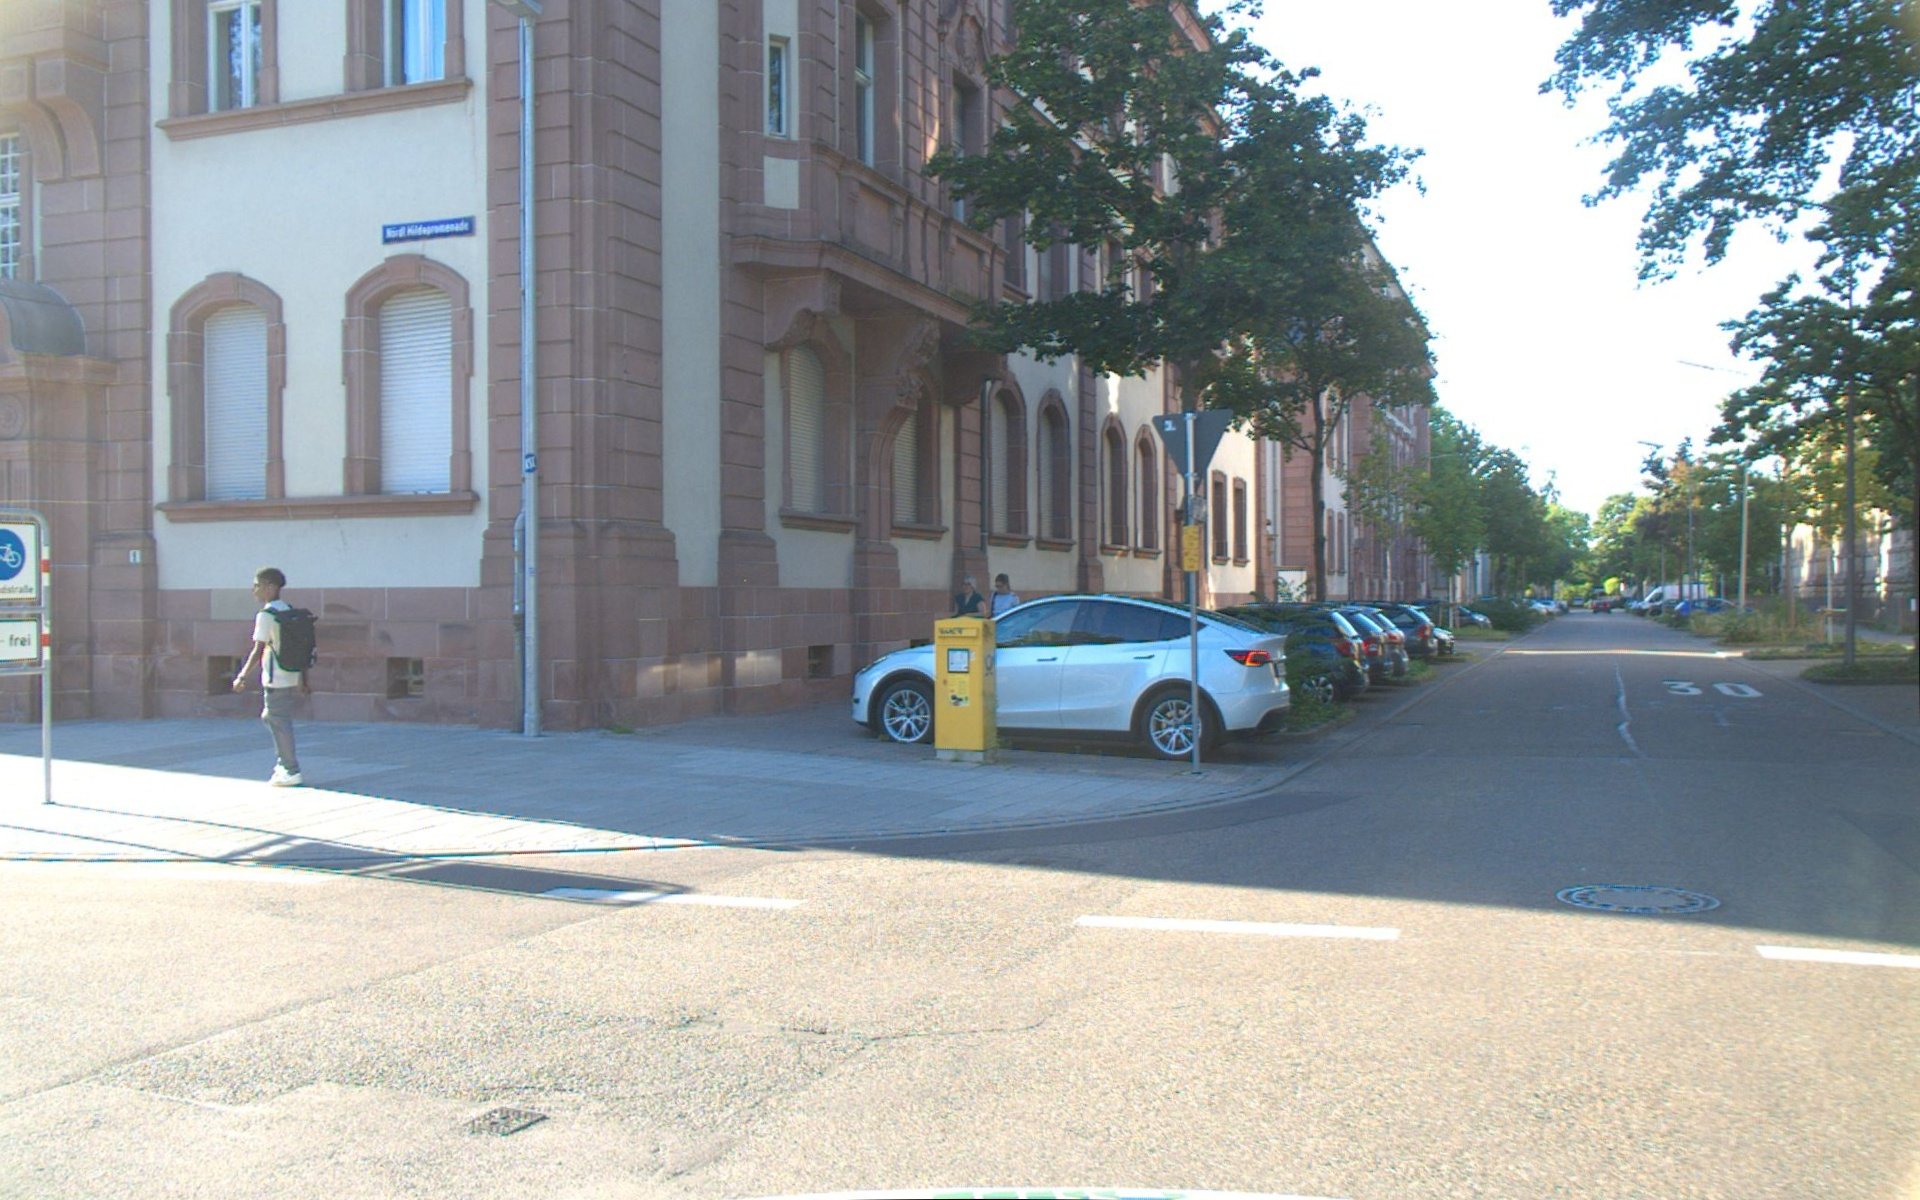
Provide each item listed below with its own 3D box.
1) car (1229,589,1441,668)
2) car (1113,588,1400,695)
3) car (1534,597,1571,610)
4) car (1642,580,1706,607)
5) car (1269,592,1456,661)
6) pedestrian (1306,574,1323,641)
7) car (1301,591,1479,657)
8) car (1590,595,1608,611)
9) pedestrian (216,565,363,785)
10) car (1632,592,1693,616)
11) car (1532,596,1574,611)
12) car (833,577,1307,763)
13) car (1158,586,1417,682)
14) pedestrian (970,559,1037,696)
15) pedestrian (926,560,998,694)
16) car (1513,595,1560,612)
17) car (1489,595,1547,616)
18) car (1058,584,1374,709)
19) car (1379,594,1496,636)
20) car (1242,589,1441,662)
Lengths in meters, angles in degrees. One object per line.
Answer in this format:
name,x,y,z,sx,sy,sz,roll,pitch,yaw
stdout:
car,8.137,0.582,35.798,4.287,1.522,1.968,2,1,19
car,4.804,0.624,26.684,4.287,1.522,1.968,2,1,19
car,68.847,0.437,192.173,4.006,1.520,1.932,0,0,22
car,56.464,-0.491,130.909,4.608,2.140,2.000,0,0,22
car,9.893,0.615,40.580,4.287,1.522,1.968,2,1,19
pedestrian,10.812,0.225,50.441,0.426,2.049,0.463,0,0,22
car,11.062,0.596,42.479,4.287,1.522,1.968,2,1,19
car,74.249,0.334,192.123,1.707,1.736,3.675,0,0,18
pedestrian,-5.518,0.595,13.622,0.979,1.748,0.534,0,2,23
car,49.633,0.273,116.902,3.905,1.646,1.788,0,0,22
car,60.986,0.348,170.096,4.006,1.520,1.932,0,0,22
car,1.192,0.657,17.496,4.608,1.617,1.968,2,1,19
car,5.854,0.565,29.494,4.287,1.522,1.968,2,1,19
pedestrian,0.614,0.376,23.129,0.709,1.872,0.612,2,1,24
pedestrian,0.027,0.373,23.577,0.772,1.872,0.716,1,0,24
car,53.242,0.353,152.806,4.006,1.520,1.932,0,0,22
car,41.374,0.379,122.584,4.006,1.520,1.932,0,0,22
car,3.780,0.630,24.253,4.287,1.612,1.968,2,1,19
car,18.905,0.560,65.479,4.289,1.522,1.967,2,1,21
car,8.852,0.558,38.300,4.287,1.522,1.968,2,1,19
